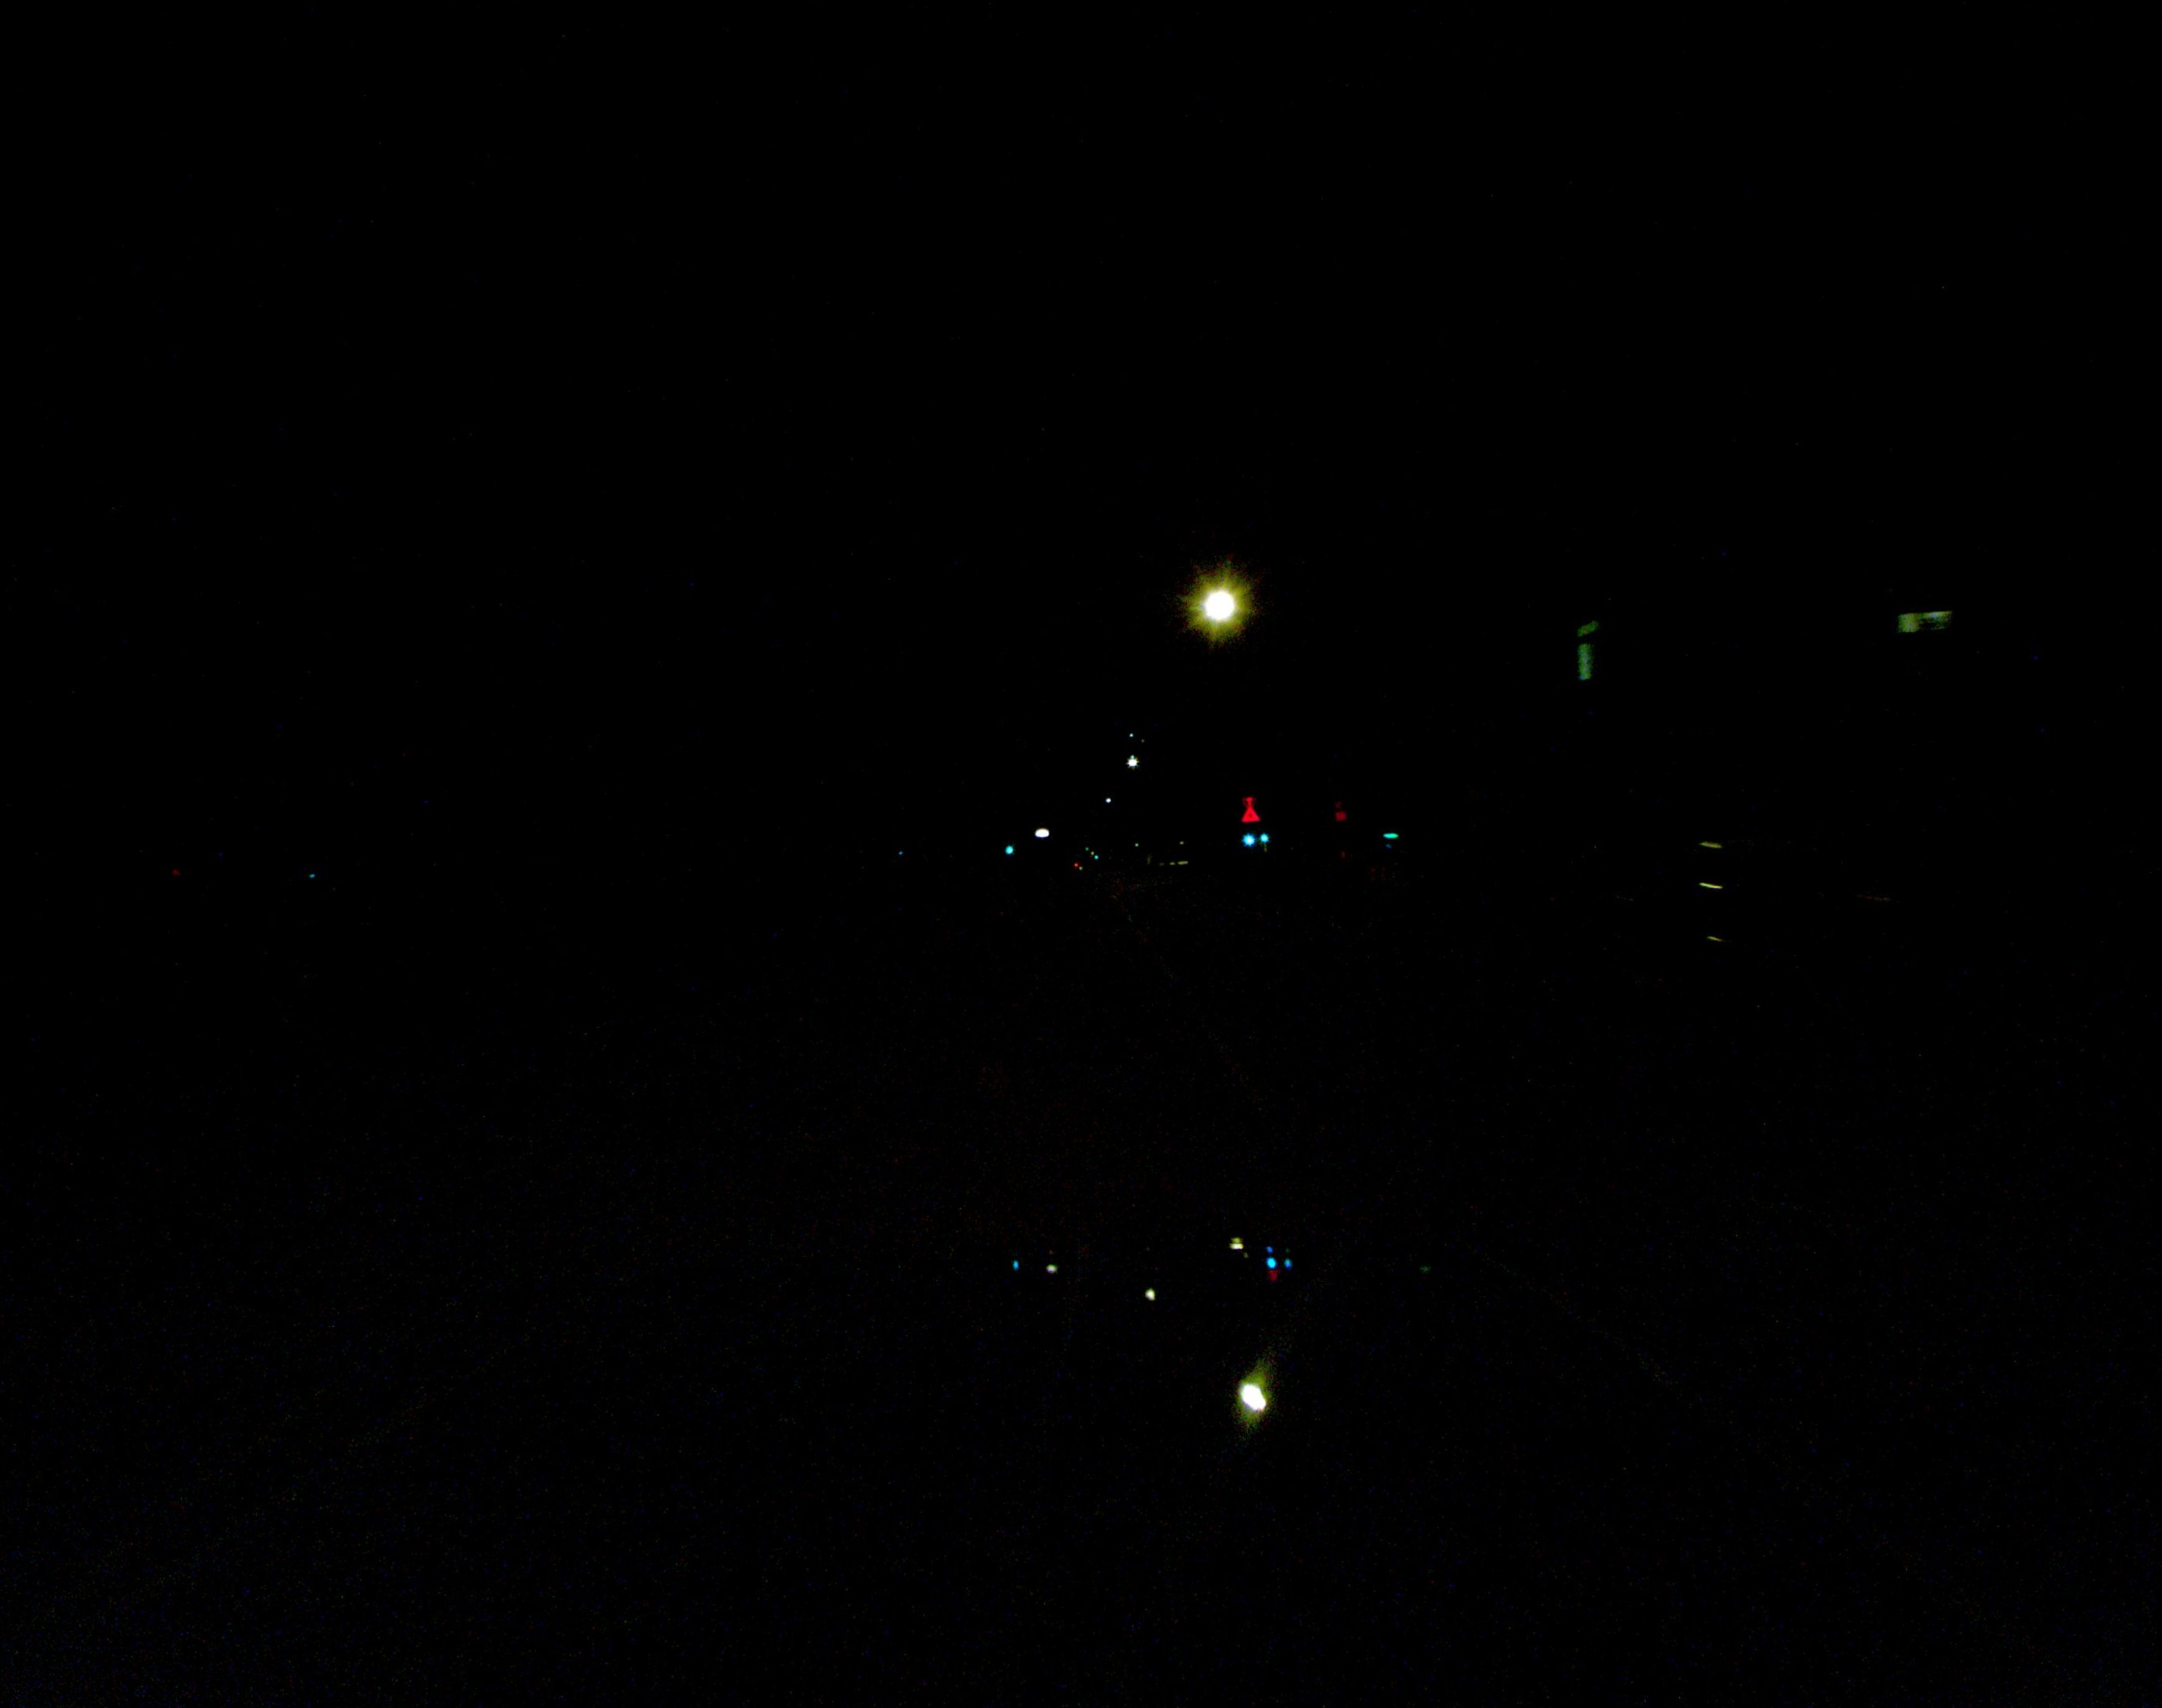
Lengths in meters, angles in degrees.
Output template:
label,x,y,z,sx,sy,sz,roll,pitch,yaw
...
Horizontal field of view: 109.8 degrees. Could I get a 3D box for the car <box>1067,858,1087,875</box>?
label,x,y,z,sx,sy,sz,roll,pitch,yaw
car,-0.359,1.166,71.771,1.590,1.452,3.797,-3,0,2

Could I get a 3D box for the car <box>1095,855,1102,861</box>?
label,x,y,z,sx,sy,sz,roll,pitch,yaw
car,5.384,1.241,232.053,1.826,1.423,3.730,-5,0,-2

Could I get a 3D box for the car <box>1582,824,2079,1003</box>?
label,x,y,z,sx,sy,sz,roll,pitch,yaw
car,7.939,0.529,8.709,1.718,1.485,3.990,-3,0,0

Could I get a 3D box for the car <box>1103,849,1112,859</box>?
label,x,y,z,sx,sy,sz,roll,pitch,yaw
car,7.096,-0.077,203.976,2.005,2.493,4.953,-5,0,-2

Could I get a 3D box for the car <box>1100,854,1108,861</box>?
label,x,y,z,sx,sy,sz,roll,pitch,yaw
car,5.800,0.908,192.290,1.826,1.423,3.730,-5,0,-2

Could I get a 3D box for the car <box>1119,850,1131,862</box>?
label,x,y,z,sx,sy,sz,roll,pitch,yaw
car,7.566,0.321,131.142,1.882,1.798,3.731,-5,0,1

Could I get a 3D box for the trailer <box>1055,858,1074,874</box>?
label,x,y,z,sx,sy,sz,roll,pitch,yaw
trailer,-1.720,1.259,81.320,1.604,1.486,3.734,-4,0,4

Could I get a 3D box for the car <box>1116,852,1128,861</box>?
label,x,y,z,sx,sy,sz,roll,pitch,yaw
car,7.369,0.407,136.973,1.826,1.423,3.731,-5,0,1

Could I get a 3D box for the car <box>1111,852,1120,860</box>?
label,x,y,z,sx,sy,sz,roll,pitch,yaw
car,7.182,0.363,159.026,1.826,1.637,3.731,-2,0,1
